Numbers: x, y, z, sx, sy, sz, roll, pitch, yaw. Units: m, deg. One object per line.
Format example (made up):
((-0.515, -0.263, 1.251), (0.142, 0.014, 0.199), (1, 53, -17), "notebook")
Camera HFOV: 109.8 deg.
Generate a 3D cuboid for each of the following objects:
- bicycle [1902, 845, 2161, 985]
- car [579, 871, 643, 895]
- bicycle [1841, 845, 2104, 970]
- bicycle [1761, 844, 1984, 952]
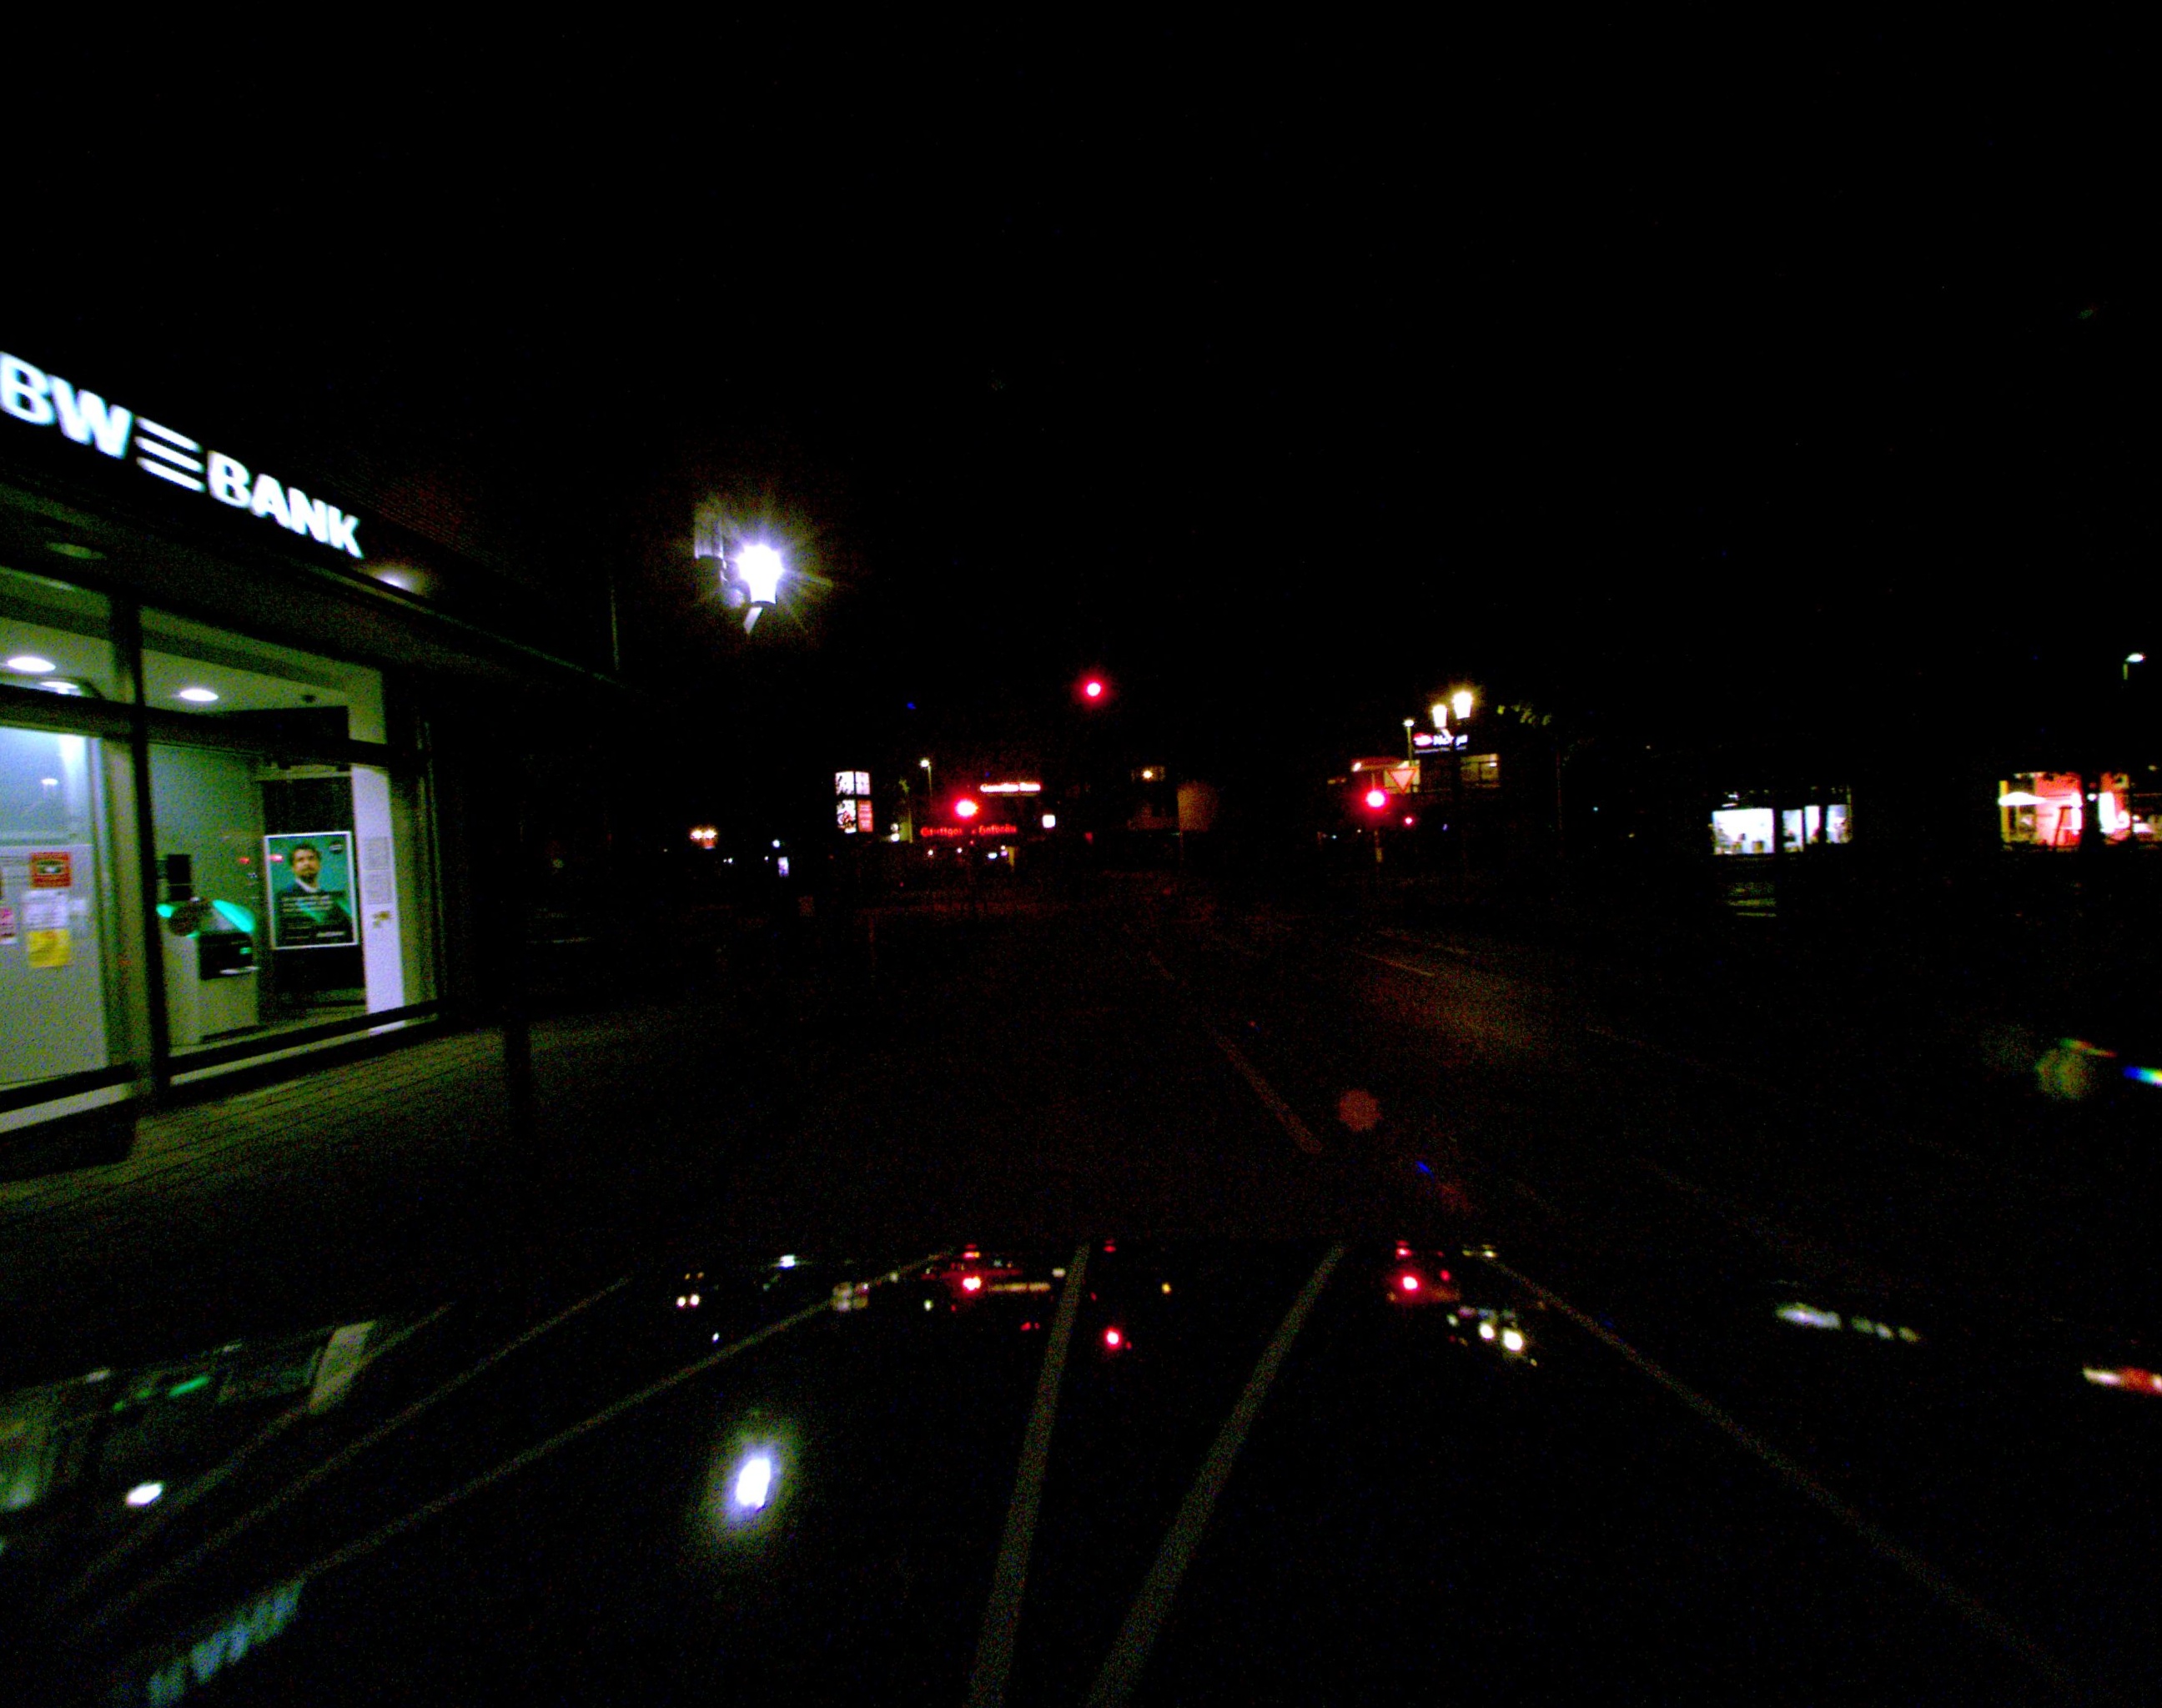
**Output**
((9.334, 0.562, 7.363), (1.738, 1.159, 0.787), (-5, 0, 5), "bicycle")
((-35.120, 2.134, 56.761), (3.856, 1.643, 1.877), (-2, -1, 14), "car")
((9.503, 0.551, 8.163), (1.738, 1.151, 0.787), (-5, 1, 5), "bicycle")
((9.888, 0.534, 9.556), (1.838, 1.151, 0.787), (-5, 1, 5), "bicycle")
